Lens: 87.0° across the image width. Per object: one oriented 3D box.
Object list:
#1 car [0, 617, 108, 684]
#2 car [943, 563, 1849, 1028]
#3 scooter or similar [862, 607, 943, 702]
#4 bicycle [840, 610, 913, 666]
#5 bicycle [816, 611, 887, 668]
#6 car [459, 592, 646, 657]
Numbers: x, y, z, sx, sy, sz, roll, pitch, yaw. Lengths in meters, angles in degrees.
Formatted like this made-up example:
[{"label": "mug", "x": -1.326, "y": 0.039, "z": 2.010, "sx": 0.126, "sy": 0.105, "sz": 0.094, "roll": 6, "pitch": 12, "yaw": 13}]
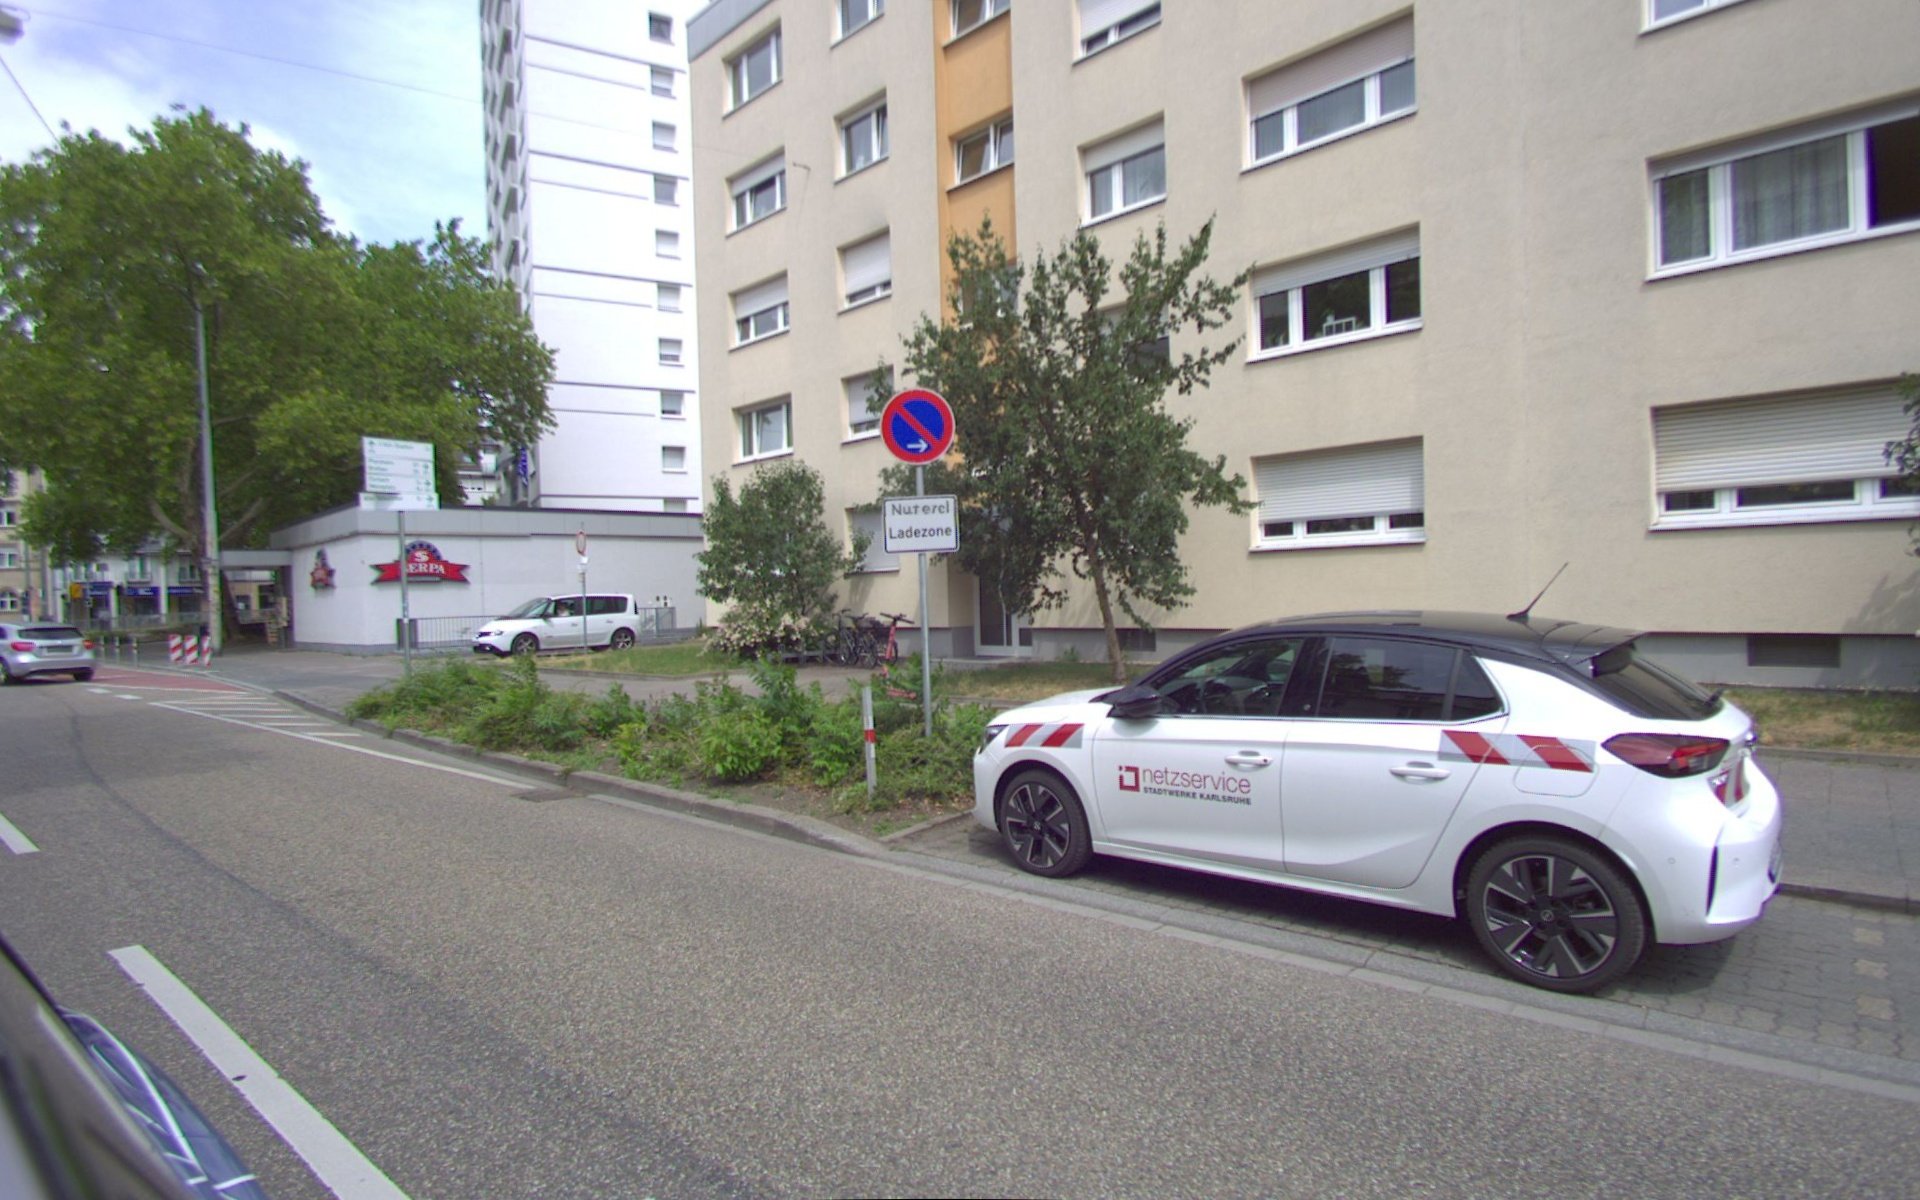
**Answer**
[{"label": "car", "x": -22.568, "y": 1.171, "z": 23.973, "sx": 4.152, "sy": 1.461, "sz": 1.837, "roll": -1, "pitch": -1, "yaw": 20}, {"label": "car", "x": 1.957, "y": 0.647, "z": 5.283, "sx": 3.989, "sy": 1.484, "sz": 1.690, "roll": -1, "pitch": 2, "yaw": 43}, {"label": "scooter or similar", "x": -0.798, "y": 0.713, "z": 13.712, "sx": 0.396, "sy": 1.202, "sz": 1.293, "roll": -3, "pitch": 2, "yaw": -37}, {"label": "bicycle", "x": -1.657, "y": 0.722, "z": 19.824, "sx": 0.406, "sy": 1.045, "sz": 1.807, "roll": -1, "pitch": 0, "yaw": -42}, {"label": "bicycle", "x": -2.101, "y": 0.732, "z": 19.459, "sx": 0.406, "sy": 1.045, "sz": 1.808, "roll": -1, "pitch": 0, "yaw": -40}, {"label": "car", "x": -11.458, "y": 0.636, "z": 28.660, "sx": 4.576, "sy": 1.699, "sz": 1.851, "roll": -1, "pitch": -1, "yaw": -43}]
